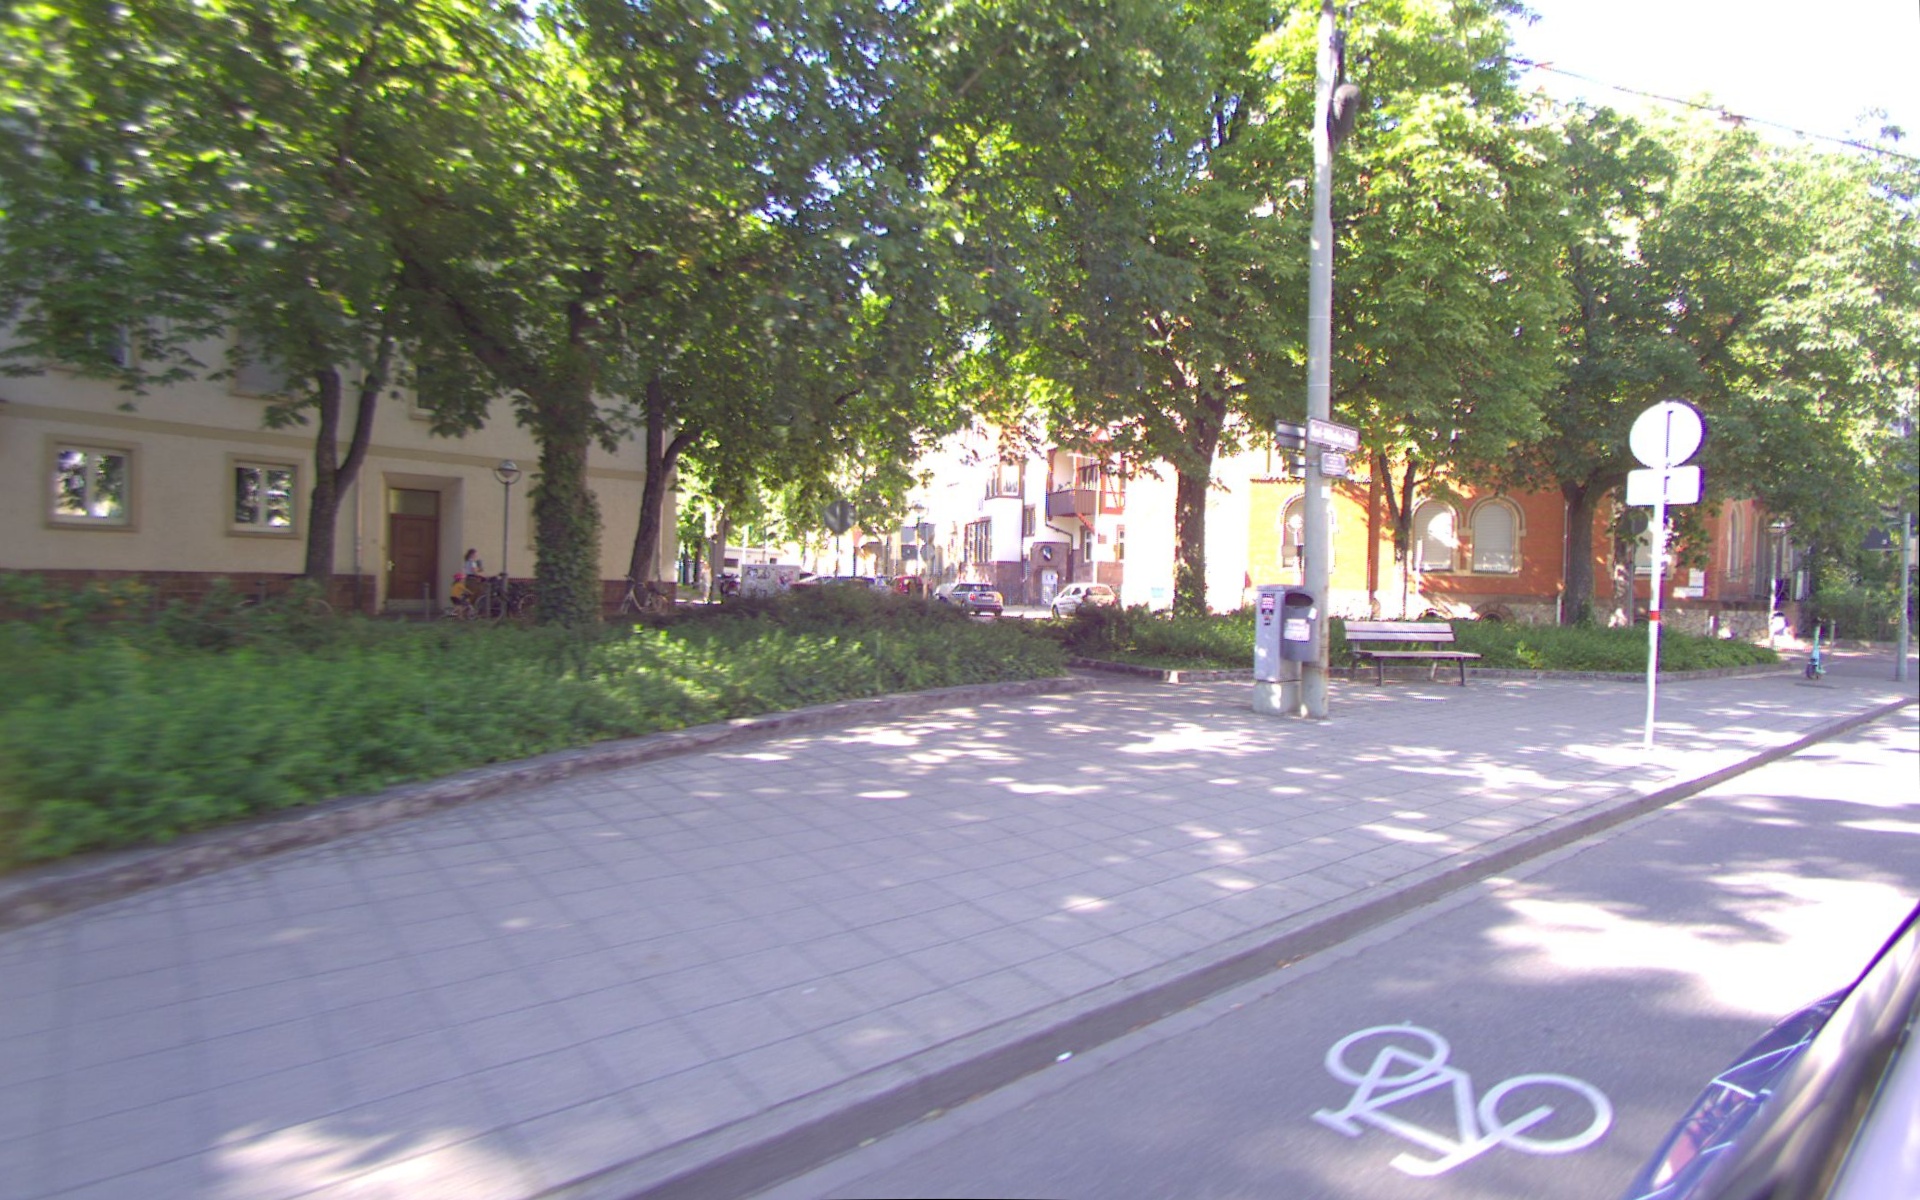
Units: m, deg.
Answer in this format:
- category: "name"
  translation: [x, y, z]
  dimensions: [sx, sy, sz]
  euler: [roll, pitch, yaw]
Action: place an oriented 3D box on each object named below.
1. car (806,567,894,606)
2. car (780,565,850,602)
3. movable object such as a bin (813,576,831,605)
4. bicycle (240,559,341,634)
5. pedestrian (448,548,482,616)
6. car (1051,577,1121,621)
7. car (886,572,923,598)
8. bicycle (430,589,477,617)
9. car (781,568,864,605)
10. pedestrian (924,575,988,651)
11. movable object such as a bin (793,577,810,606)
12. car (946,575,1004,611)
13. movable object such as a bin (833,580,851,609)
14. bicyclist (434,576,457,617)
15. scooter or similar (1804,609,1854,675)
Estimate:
- category: "car"
  translation: [-4.480, -0.537, 41.225]
  dimensions: [3.278, 1.538, 1.502]
  euler: [0, 0, -22]
- category: "car"
  translation: [-7.422, -0.812, 51.653]
  dimensions: [3.278, 1.856, 1.502]
  euler: [0, 0, -22]
- category: "movable object such as a bin"
  translation: [-4.670, -0.324, 34.249]
  dimensions: [0.570, 0.977, 0.644]
  euler: [0, 0, -12]
- category: "bicycle"
  translation: [-12.195, -0.058, 18.475]
  dimensions: [0.424, 1.296, 1.472]
  euler: [3, 1, 30]
- category: "pedestrian"
  translation: [-12.201, -0.430, 24.953]
  dimensions: [0.618, 1.655, 0.571]
  euler: [1, -1, -41]
- category: "car"
  translation: [5.109, -0.047, 41.466]
  dimensions: [1.600, 1.738, 3.811]
  euler: [0, 0, -14]
- category: "car"
  translation: [-3.758, -0.980, 68.377]
  dimensions: [1.600, 1.738, 3.811]
  euler: [0, 0, -18]
- category: "bicycle"
  translation: [-11.908, 0.076, 23.802]
  dimensions: [0.430, 0.644, 0.905]
  euler: [0, 0, 37]
- category: "car"
  translation: [-5.937, -0.552, 43.614]
  dimensions: [3.278, 1.538, 1.502]
  euler: [0, 0, -22]
- category: "pedestrian"
  translation: [-0.063, 0.211, 17.067]
  dimensions: [1.022, 1.247, 0.450]
  euler: [0, 0, -40]
- category: "movable object such as a bin"
  translation: [-5.337, -0.287, 34.065]
  dimensions: [0.532, 0.977, 0.644]
  euler: [0, 0, -12]
- category: "car"
  translation: [0.583, -0.277, 43.121]
  dimensions: [1.600, 1.476, 3.555]
  euler: [0, 0, -14]
- category: "movable object such as a bin"
  translation: [-4.021, -0.194, 34.361]
  dimensions: [0.532, 0.977, 0.644]
  euler: [0, 0, -12]
- category: "bicyclist"
  translation: [-12.052, -0.084, 23.703]
  dimensions: [0.337, 0.956, 0.388]
  euler: [0, 0, 38]
- category: "scooter or similar"
  translation: [17.444, 0.840, 20.311]
  dimensions: [1.253, 1.265, 0.519]
  euler: [3, -1, -40]
